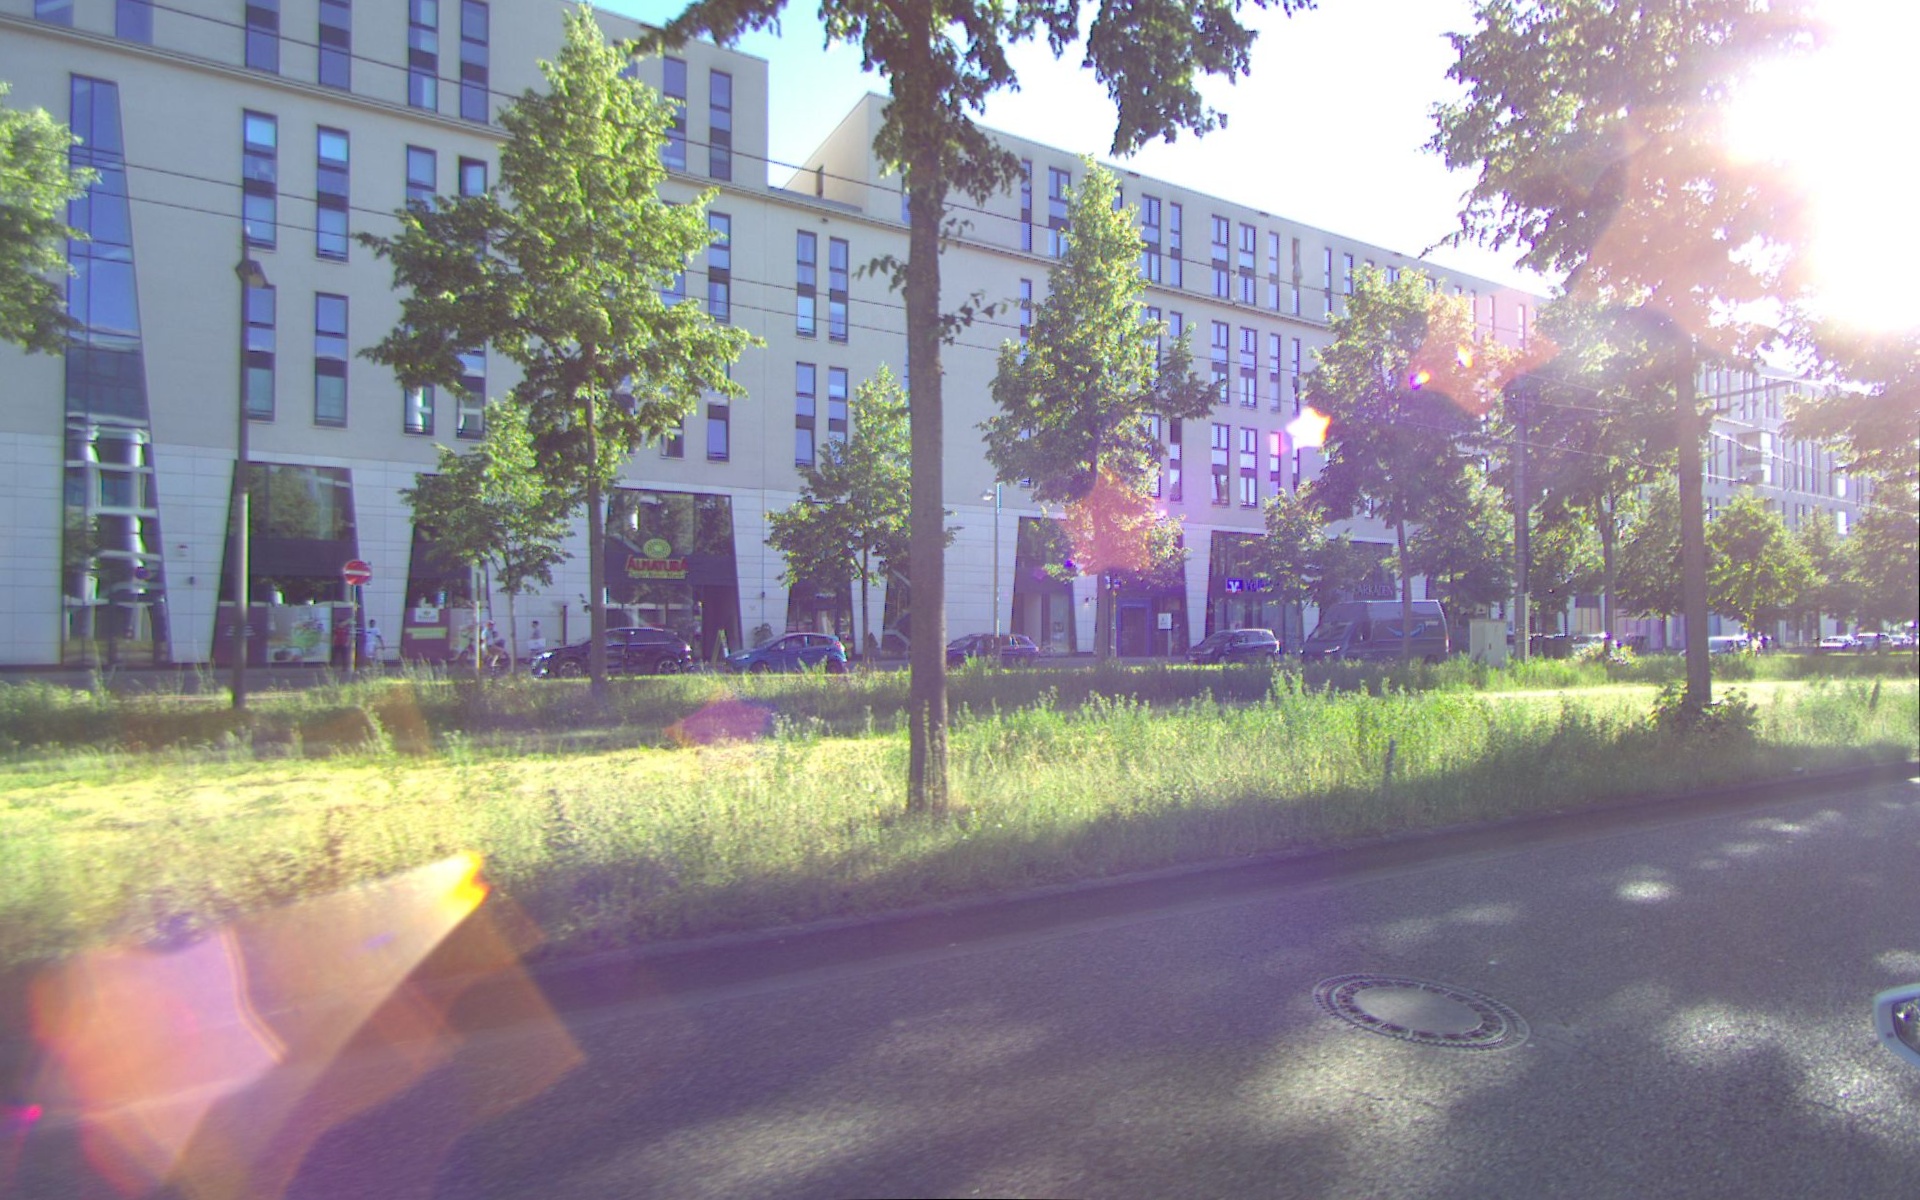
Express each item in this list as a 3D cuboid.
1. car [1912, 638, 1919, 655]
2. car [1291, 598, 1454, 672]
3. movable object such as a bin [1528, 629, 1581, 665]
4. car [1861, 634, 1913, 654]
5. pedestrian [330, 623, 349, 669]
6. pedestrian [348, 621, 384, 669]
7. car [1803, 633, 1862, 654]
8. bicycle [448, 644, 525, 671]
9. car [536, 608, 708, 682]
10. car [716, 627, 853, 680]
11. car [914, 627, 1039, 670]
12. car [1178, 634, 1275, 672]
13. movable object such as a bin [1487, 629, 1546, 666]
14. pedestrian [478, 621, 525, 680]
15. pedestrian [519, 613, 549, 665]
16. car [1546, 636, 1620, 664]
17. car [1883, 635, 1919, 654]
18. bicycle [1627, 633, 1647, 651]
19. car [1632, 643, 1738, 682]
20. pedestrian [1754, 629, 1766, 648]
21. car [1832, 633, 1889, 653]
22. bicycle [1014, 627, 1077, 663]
[{"bbox_3d":[83.358,4.016,85.802,4.407,1.460,1.982,2,0,-33],"label":"car"},{"bbox_3d":[14.876,1.247,36.073,5.965,2.413,2.490,2,0,-34],"label":"car"},{"bbox_3d":[32.250,2.556,54.532,1.538,1.818,1.960,2,0,-31],"label":"movable object such as a bin"},{"bbox_3d":[73.223,3.506,79.316,4.407,1.460,1.982,2,0,-33],"label":"car"},{"bbox_3d":[-20.250,1.487,32.774,0.453,1.479,0.600,2,0,-27],"label":"pedestrian"},{"bbox_3d":[-19.796,1.509,33.505,0.951,1.557,0.654,2,0,-27],"label":"pedestrian"},{"bbox_3d":[64.275,3.189,73.984,4.727,1.460,1.982,2,0,-33],"label":"car"},{"bbox_3d":[-16.050,1.968,34.121,2.300,0.859,0.660,2,0,-20],"label":"bicycle"},{"bbox_3d":[-9.987,1.315,29.781,4.505,2.040,1.982,1,-1,-33],"label":"car"},{"bbox_3d":[-5.665,1.703,32.483,3.953,1.592,1.984,1,-1,-30],"label":"car"},{"bbox_3d":[0.613,1.707,35.974,4.292,1.432,1.713,1,-2,-34],"label":"car"},{"bbox_3d":[11.192,2.189,42.069,4.226,1.499,1.549,1,-1,-34],"label":"car"},{"bbox_3d":[29.044,2.451,52.455,1.989,1.818,1.959,2,0,-32],"label":"movable object such as a bin"},{"bbox_3d":[-14.180,1.545,31.050,1.208,1.766,0.838,2,0,-30],"label":"pedestrian"},{"bbox_3d":[-15.638,1.437,36.847,0.951,1.880,0.654,2,0,-27],"label":"pedestrian"},{"bbox_3d":[35.069,2.790,56.514,3.976,1.460,1.982,2,0,-33],"label":"car"},{"bbox_3d":[78.000,3.664,82.521,4.883,1.460,1.982,2,0,-33],"label":"car"},{"bbox_3d":[49.495,3.096,73.420,1.591,1.298,0.594,2,0,-32],"label":"bicycle"},{"bbox_3d":[30.035,2.553,41.586,4.405,1.460,1.983,2,0,-31],"label":"car"},{"bbox_3d":[71.730,3.488,90.094,0.713,1.673,0.631,2,0,-37],"label":"pedestrian"},{"bbox_3d":[68.511,3.274,76.427,4.404,1.460,1.984,2,0,-30],"label":"car"},{"bbox_3d":[3.948,2.073,46.046,2.996,1.566,0.615,2,0,-28],"label":"bicycle"}]
